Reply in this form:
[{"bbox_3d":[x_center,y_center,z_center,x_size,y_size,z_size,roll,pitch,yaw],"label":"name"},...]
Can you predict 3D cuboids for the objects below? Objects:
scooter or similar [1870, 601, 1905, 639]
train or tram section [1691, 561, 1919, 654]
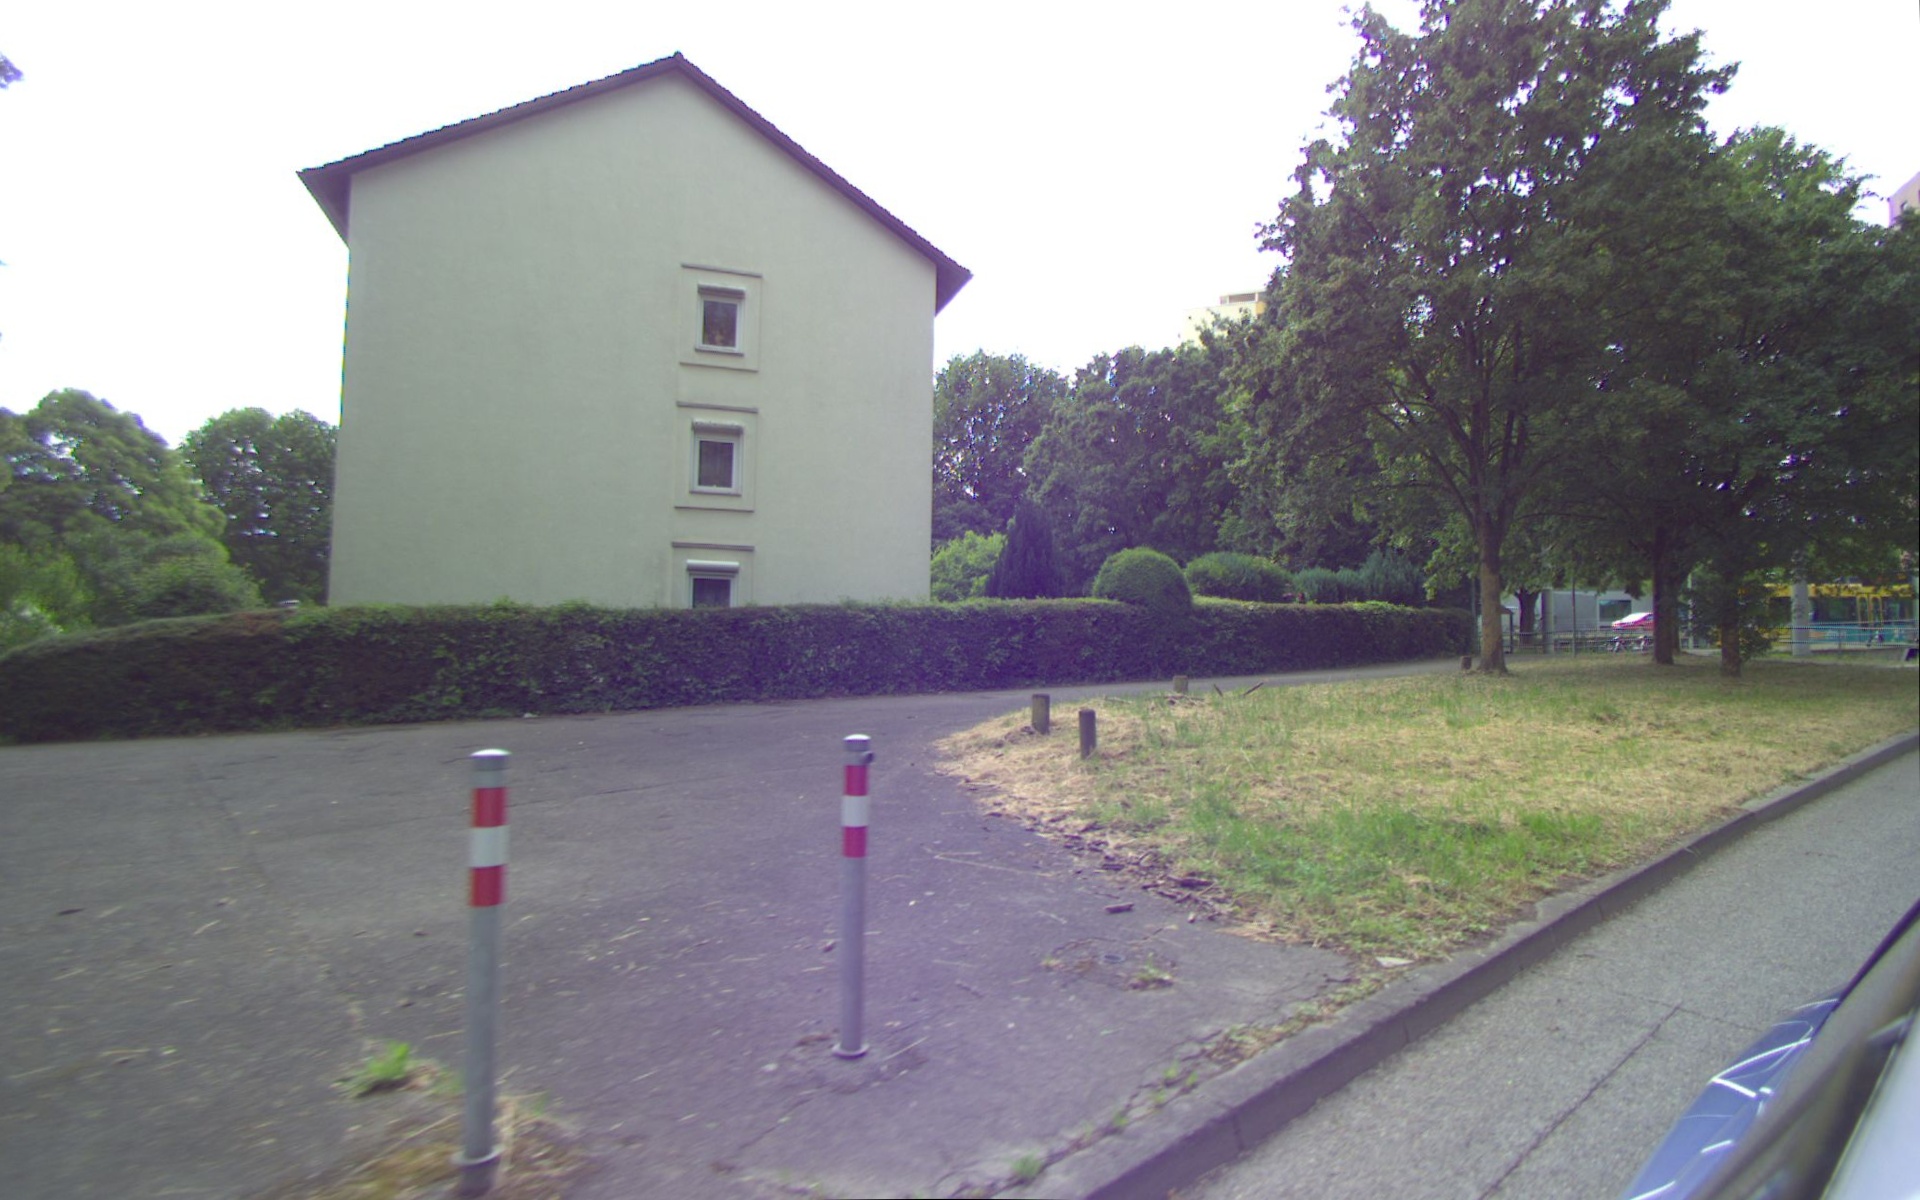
[{"bbox_3d":[32.247,0.697,35.186,1.229,1.269,0.432,-2,-2,-27],"label":"scooter or similar"},{"bbox_3d":[40.537,0.398,43.814,19.102,3.637,2.826,0,-4,-15],"label":"train or tram section"}]
